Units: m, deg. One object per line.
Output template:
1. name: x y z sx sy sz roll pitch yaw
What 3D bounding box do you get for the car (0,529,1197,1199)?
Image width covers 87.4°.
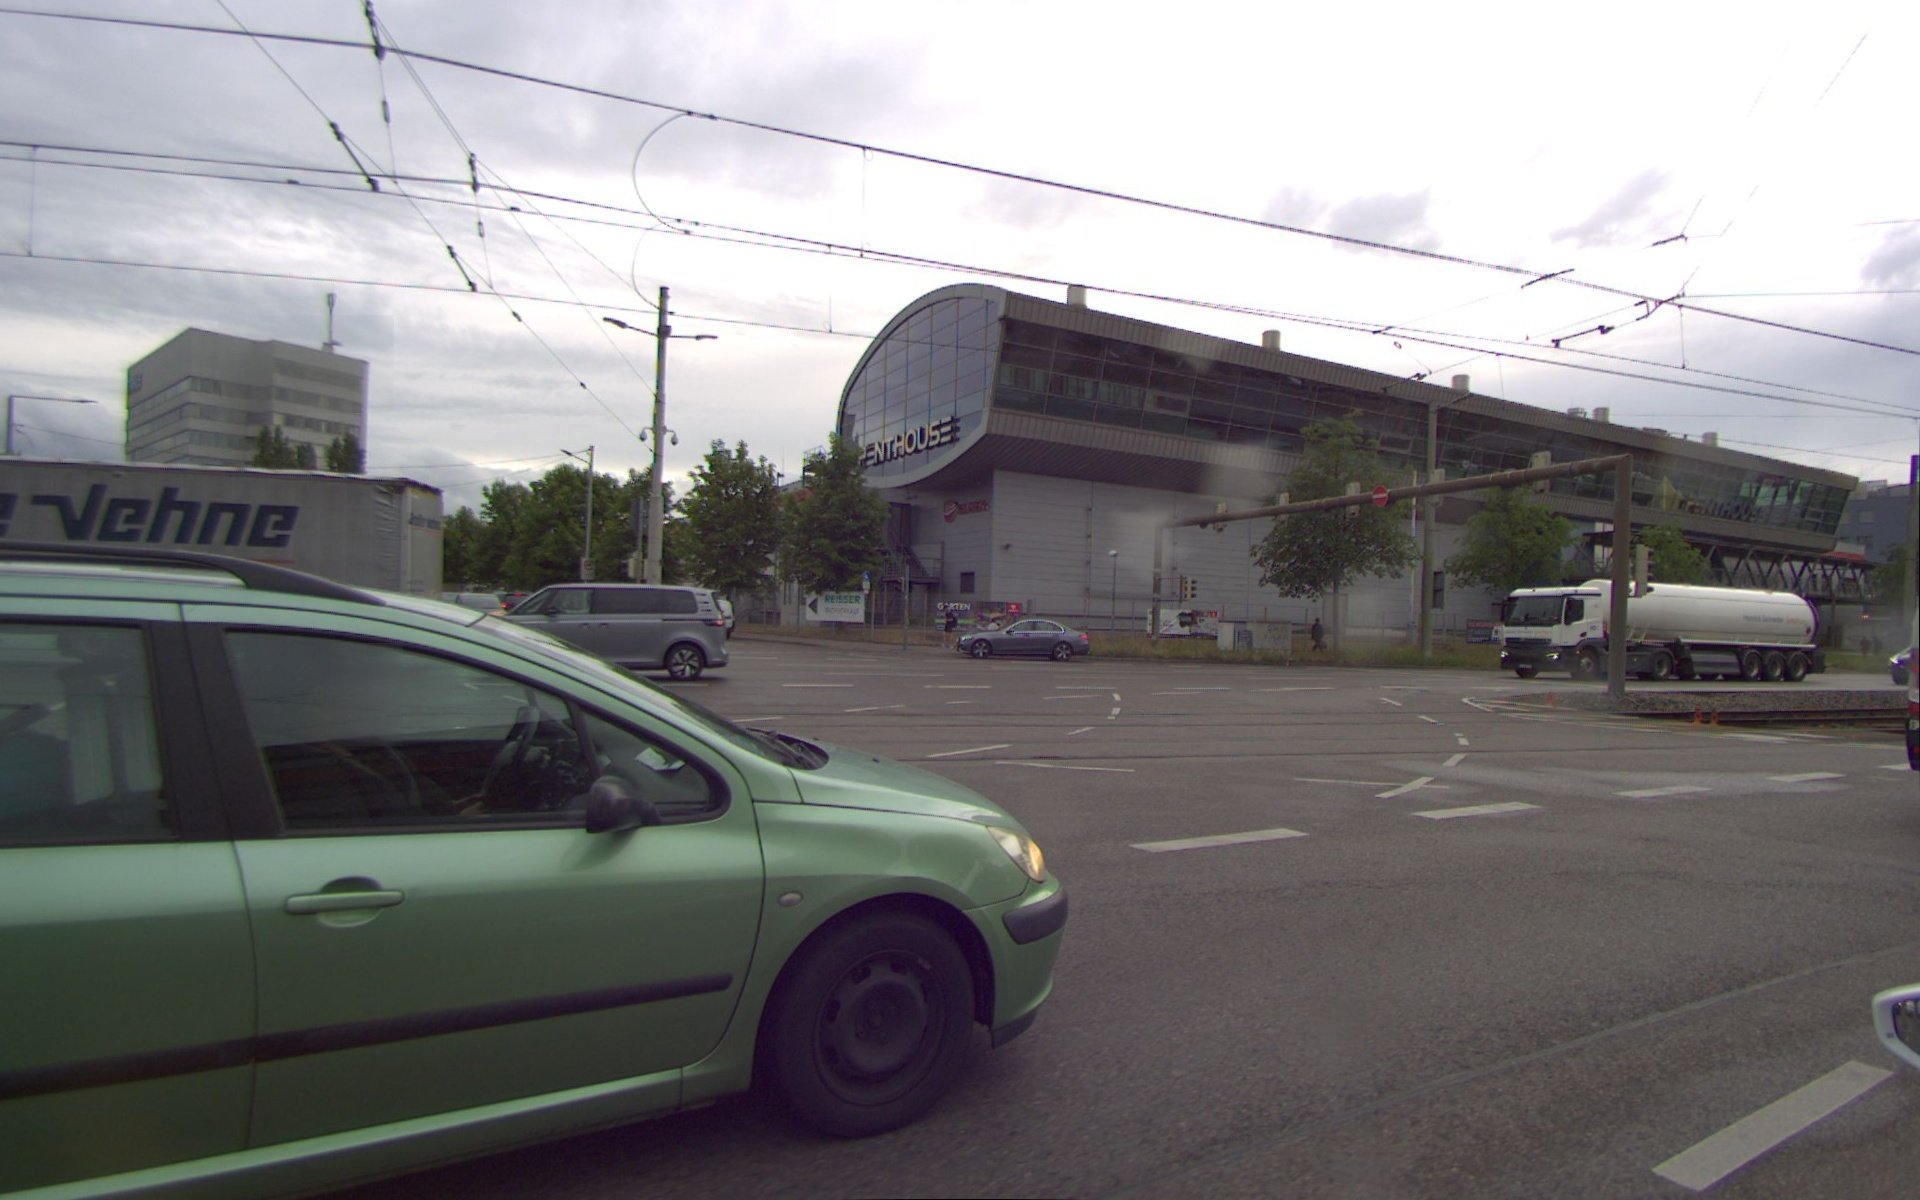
1. car: -1.580 0.599 2.841 4.350 1.488 1.687 2 2 -29

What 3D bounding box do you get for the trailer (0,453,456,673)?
1. trailer: -17.925 -0.742 21.271 12.524 4.179 2.652 2 -1 -12

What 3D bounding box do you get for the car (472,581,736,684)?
1. car: -7.122 0.653 20.582 4.827 1.862 1.994 2 0 -15

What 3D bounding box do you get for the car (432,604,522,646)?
1. car: -18.199 0.913 37.772 1.985 1.420 3.951 3 -1 -42

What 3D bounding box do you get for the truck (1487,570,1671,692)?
1. truck: 21.193 1.111 34.447 5.332 3.855 2.741 2 -2 -22

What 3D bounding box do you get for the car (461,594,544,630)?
1. car: -22.452 0.564 49.268 4.387 1.630 1.991 1 -1 40

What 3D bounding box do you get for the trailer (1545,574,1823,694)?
1. trailer: 26.490 1.358 36.587 11.065 3.905 2.720 2 -2 -22

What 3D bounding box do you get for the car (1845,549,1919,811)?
1. car: 10.977 0.800 9.464 4.844 2.324 2.435 2 -1 -28

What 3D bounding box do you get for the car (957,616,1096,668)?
1. car: 2.278 1.439 35.076 4.557 1.630 1.999 2 -1 -5
